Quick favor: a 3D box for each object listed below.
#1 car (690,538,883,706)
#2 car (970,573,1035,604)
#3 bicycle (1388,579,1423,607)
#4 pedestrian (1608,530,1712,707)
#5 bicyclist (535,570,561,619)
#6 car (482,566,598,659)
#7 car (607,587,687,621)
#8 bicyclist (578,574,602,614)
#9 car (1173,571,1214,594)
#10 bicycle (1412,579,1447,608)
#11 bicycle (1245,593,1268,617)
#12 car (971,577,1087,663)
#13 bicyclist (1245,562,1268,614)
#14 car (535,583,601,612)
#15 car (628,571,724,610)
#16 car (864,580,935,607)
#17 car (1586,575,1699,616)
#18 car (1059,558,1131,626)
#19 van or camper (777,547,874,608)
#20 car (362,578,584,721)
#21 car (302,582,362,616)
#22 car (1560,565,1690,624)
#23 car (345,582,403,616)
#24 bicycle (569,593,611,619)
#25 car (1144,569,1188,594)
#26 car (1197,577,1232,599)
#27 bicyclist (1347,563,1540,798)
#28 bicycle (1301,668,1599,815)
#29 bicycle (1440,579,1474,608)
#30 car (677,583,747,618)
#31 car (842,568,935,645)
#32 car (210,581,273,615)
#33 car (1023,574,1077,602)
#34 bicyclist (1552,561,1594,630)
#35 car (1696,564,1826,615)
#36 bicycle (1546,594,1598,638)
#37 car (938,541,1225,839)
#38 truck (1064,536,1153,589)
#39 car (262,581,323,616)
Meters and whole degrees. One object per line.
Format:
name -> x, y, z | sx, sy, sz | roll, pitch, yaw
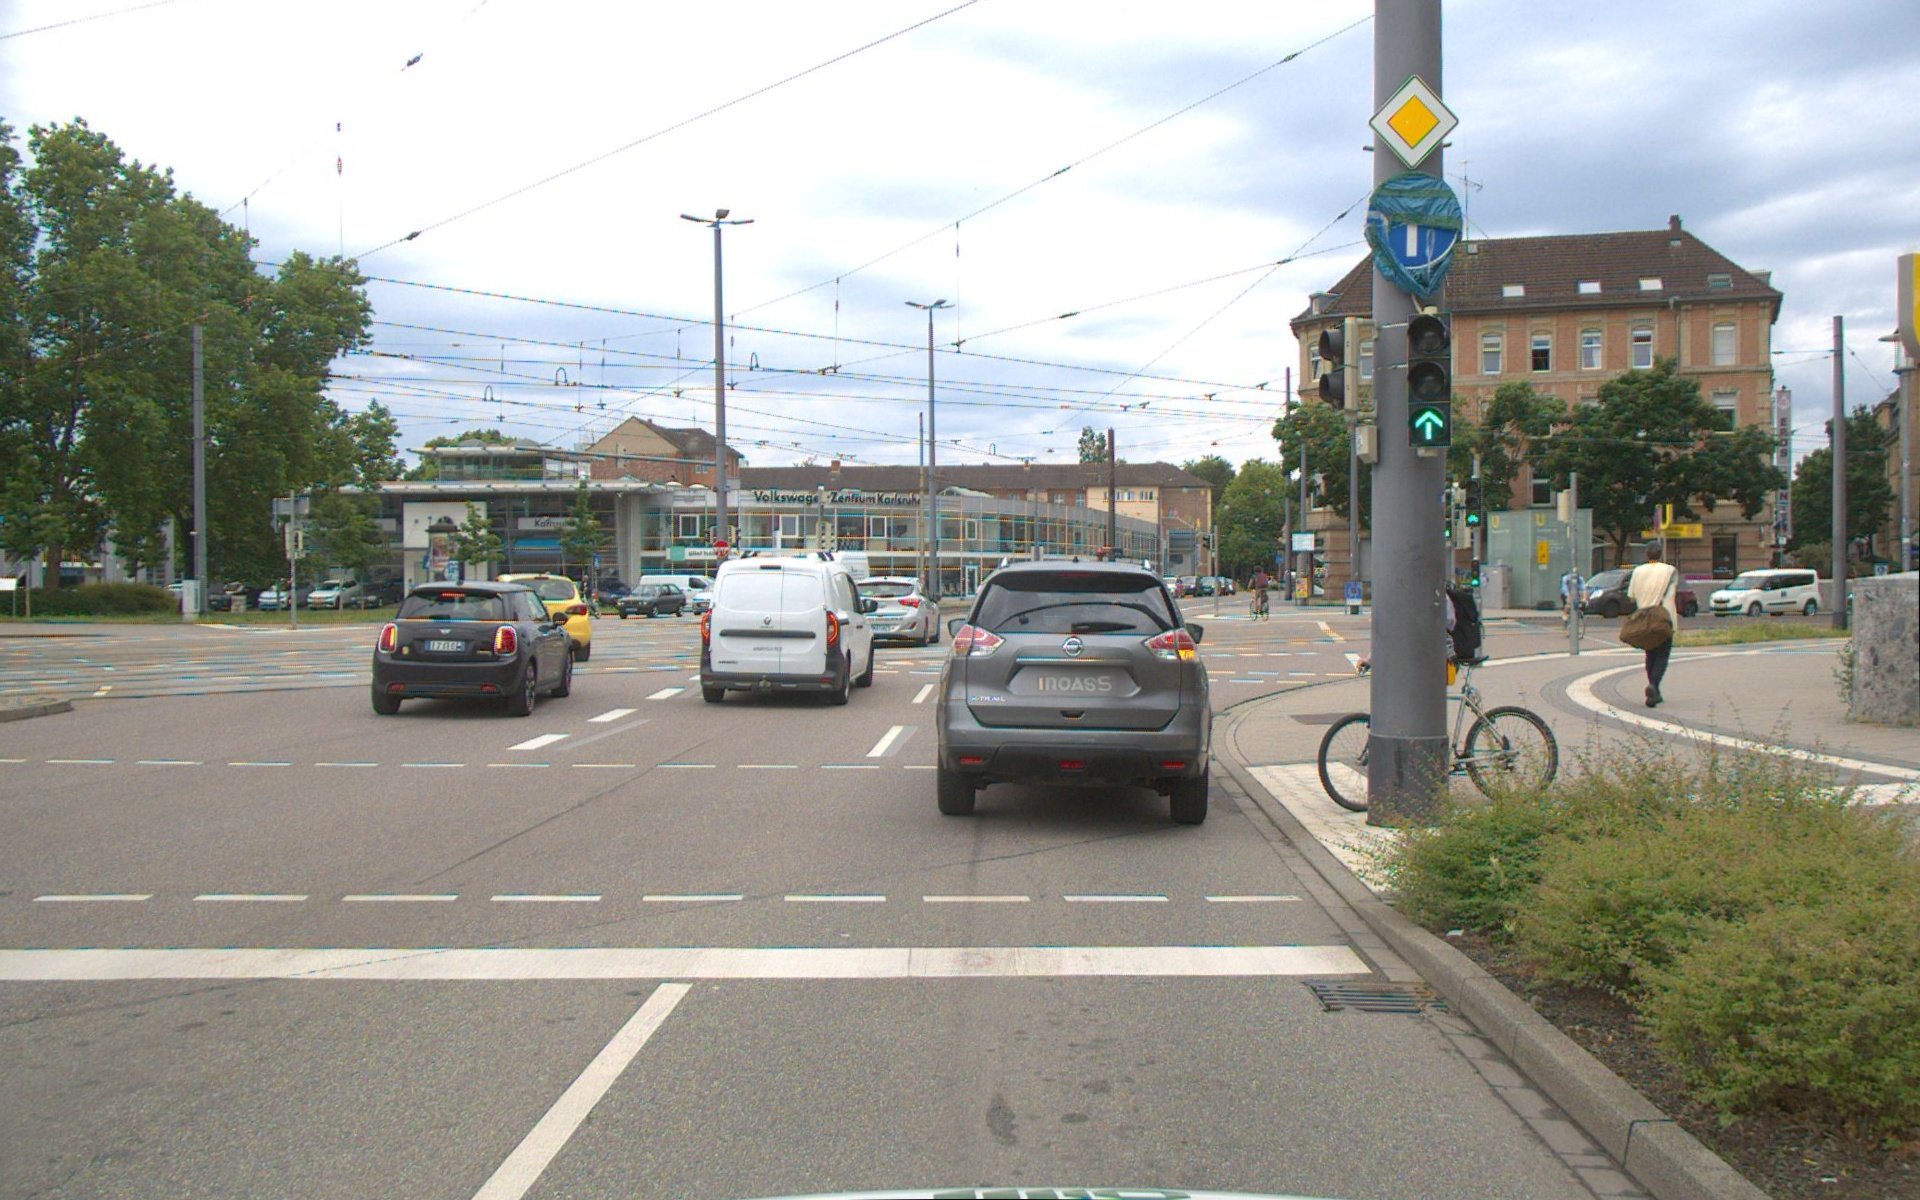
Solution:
car -> -2.143, 0.237, 21.566 | 1.872, 1.974, 4.133 | 0, 1, 3
car -> 2.705, -0.730, 104.294 | 2.114, 1.889, 5.444 | 0, 1, 25
bicycle -> 21.901, -0.336, 81.263 | 0.939, 1.378, 3.116 | 1, 0, 28
pedestrian -> 7.841, 0.190, 18.515 | 0.869, 1.900, 1.283 | 0, 0, 33
bicyclist -> -15.529, -0.194, 62.331 | 0.614, 1.835, 0.798 | 0, 0, 20
car -> -7.498, 0.193, 29.289 | 1.789, 1.520, 3.981 | 1, 1, -17
car -> -12.308, 0.151, 65.290 | 1.650, 1.268, 3.740 | 0, 1, 15
bicyclist -> -14.591, -0.232, 65.262 | 0.554, 1.534, 0.857 | 0, 2, 20
car -> 19.108, -1.407, 135.029 | 1.955, 1.871, 4.518 | 0, 1, 27
bicycle -> 22.948, -0.317, 80.814 | 0.939, 1.378, 3.116 | 1, 0, 28
bicycle -> 10.061, 0.157, 56.086 | 0.606, 0.807, 1.593 | 0, 1, 4
car -> 1.310, 0.320, 29.999 | 1.951, 1.445, 4.002 | 0, 1, 4
bicyclist -> 10.036, -0.396, 56.032 | 0.673, 1.738, 0.799 | 0, 0, 4
car -> -20.271, -0.153, 85.696 | 1.601, 1.445, 3.739 | 0, 1, 18
car -> -15.449, -0.516, 90.007 | 4.665, 2.049, 2.122 | 1, 0, 16
car -> -3.301, -0.370, 91.122 | 1.954, 1.445, 4.748 | 0, 1, 25
car -> 25.239, -0.187, 61.166 | 3.937, 1.467, 1.681 | 0, 0, -26
car -> 4.285, -0.257, 52.130 | 1.951, 2.049, 4.003 | 1, 0, 9
van or camper -> -6.025, -0.988, 74.973 | 2.364, 2.656, 6.056 | 1, 0, 16
car -> -5.614, 0.500, 19.535 | 1.735, 1.494, 3.996 | 0, 1, -5
car -> -39.112, -0.093, 103.040 | 1.952, 2.049, 4.002 | 1, 0, 4
car -> 22.623, -0.201, 56.261 | 4.318, 1.933, 1.681 | 0, 0, -26
car -> -36.346, -0.048, 102.653 | 1.952, 2.049, 4.002 | 1, 0, 4
bicycle -> -14.583, 0.224, 65.278 | 0.507, 0.942, 2.224 | 0, 1, 19
car -> 16.038, -1.436, 128.444 | 1.955, 1.871, 4.518 | 0, 1, 27
car -> 21.834, -1.037, 141.781 | 1.953, 1.871, 4.522 | 0, 1, 22
bicyclist -> 3.295, 0.526, 11.344 | 1.076, 1.547, 0.759 | 0, 0, -4
bicycle -> 3.333, 0.949, 11.348 | 1.784, 0.854, 0.767 | -2, 0, -4
bicycle -> 24.135, -0.295, 80.325 | 0.939, 1.378, 3.116 | 1, 0, 28
car -> -10.565, -0.013, 70.630 | 1.600, 1.445, 3.740 | 0, 1, 15
car -> -1.468, 0.121, 35.324 | 1.815, 1.534, 4.000 | 1, 0, 0
car -> -44.647, -0.150, 102.889 | 1.952, 2.049, 4.002 | 1, 0, 4
car -> 6.033, -0.819, 110.740 | 1.955, 1.871, 4.518 | 0, 1, 27
bicyclist -> 14.609, -0.115, 39.424 | 0.679, 1.587, 0.923 | -2, 1, 35
car -> 31.213, -0.432, 64.427 | 5.019, 1.949, 1.855 | 0, 1, -25
bicycle -> 14.579, 0.367, 39.395 | 0.659, 0.949, 1.853 | -3, 0, 35
car -> 0.769, 0.539, 11.956 | 1.713, 1.786, 3.924 | 0, 0, 1
truck -> 10.791, -2.628, 119.211 | 2.742, 3.611, 9.204 | 1, 0, 30
car -> -41.582, -0.104, 103.086 | 1.952, 2.049, 4.002 | 1, 0, 4
